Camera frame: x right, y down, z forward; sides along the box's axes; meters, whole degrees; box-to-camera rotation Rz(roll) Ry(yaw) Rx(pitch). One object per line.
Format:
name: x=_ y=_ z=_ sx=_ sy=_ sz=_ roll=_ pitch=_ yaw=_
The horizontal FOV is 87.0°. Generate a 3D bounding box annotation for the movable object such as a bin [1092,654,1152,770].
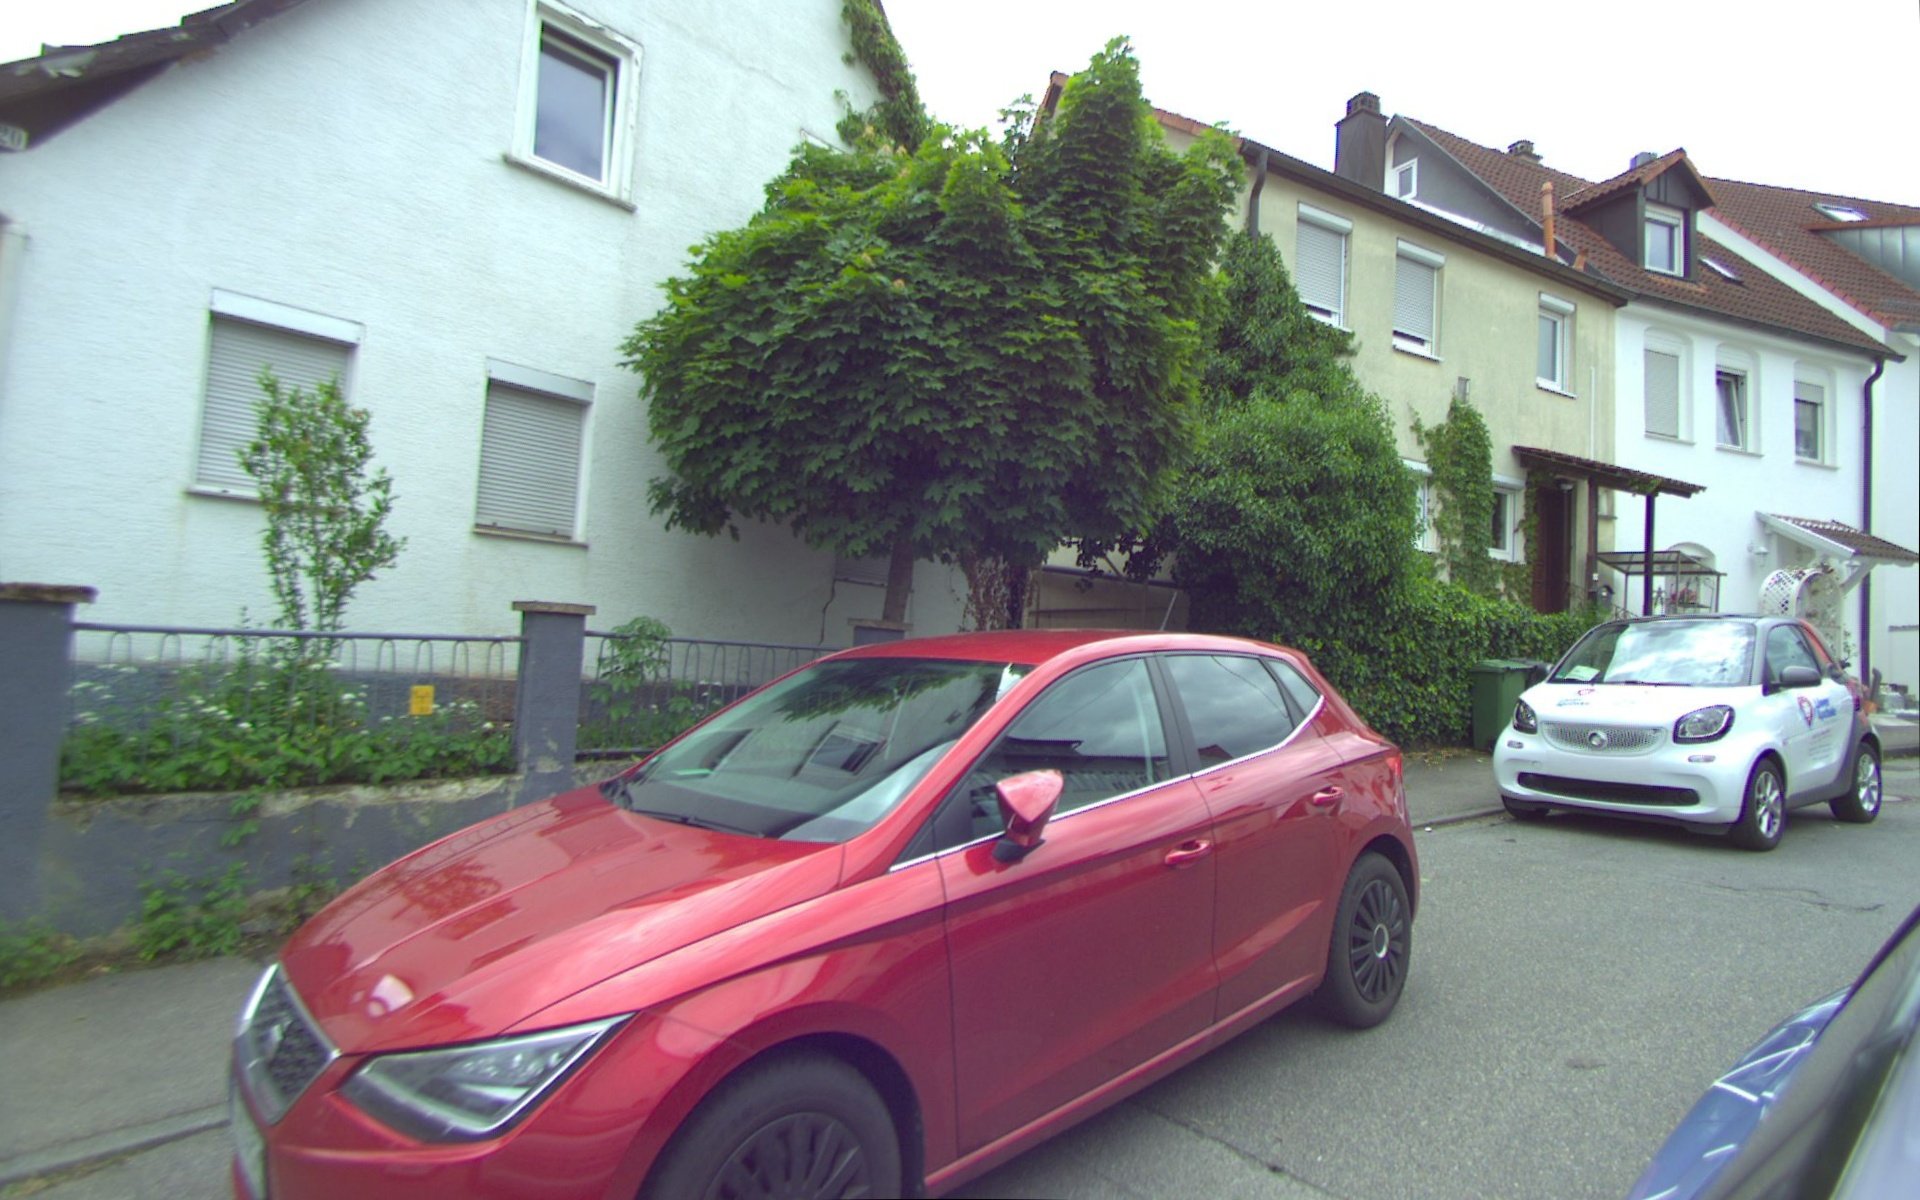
movable object such as a bin: x=1.423 y=0.971 z=8.907 sx=0.367 sy=0.961 sz=0.373 roll=1 pitch=0 yaw=-30

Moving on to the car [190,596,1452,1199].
car: x=-0.061 y=0.750 z=3.297 sx=3.786 sy=1.470 sz=1.681 roll=0 pitch=-2 yaw=-42

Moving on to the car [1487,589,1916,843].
car: x=5.616 y=0.769 z=7.656 sx=2.840 sy=1.553 sz=1.616 roll=1 pitch=-4 yaw=-33

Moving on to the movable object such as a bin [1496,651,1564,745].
movable object such as a bin: x=6.005 y=1.018 z=10.667 sx=0.436 sy=0.909 sz=0.440 roll=-1 pitch=2 yaw=-27

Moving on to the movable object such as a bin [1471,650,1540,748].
movable object such as a bin: x=5.597 y=1.004 z=10.389 sx=0.436 sy=0.925 sz=0.440 roll=-1 pitch=2 yaw=-27
